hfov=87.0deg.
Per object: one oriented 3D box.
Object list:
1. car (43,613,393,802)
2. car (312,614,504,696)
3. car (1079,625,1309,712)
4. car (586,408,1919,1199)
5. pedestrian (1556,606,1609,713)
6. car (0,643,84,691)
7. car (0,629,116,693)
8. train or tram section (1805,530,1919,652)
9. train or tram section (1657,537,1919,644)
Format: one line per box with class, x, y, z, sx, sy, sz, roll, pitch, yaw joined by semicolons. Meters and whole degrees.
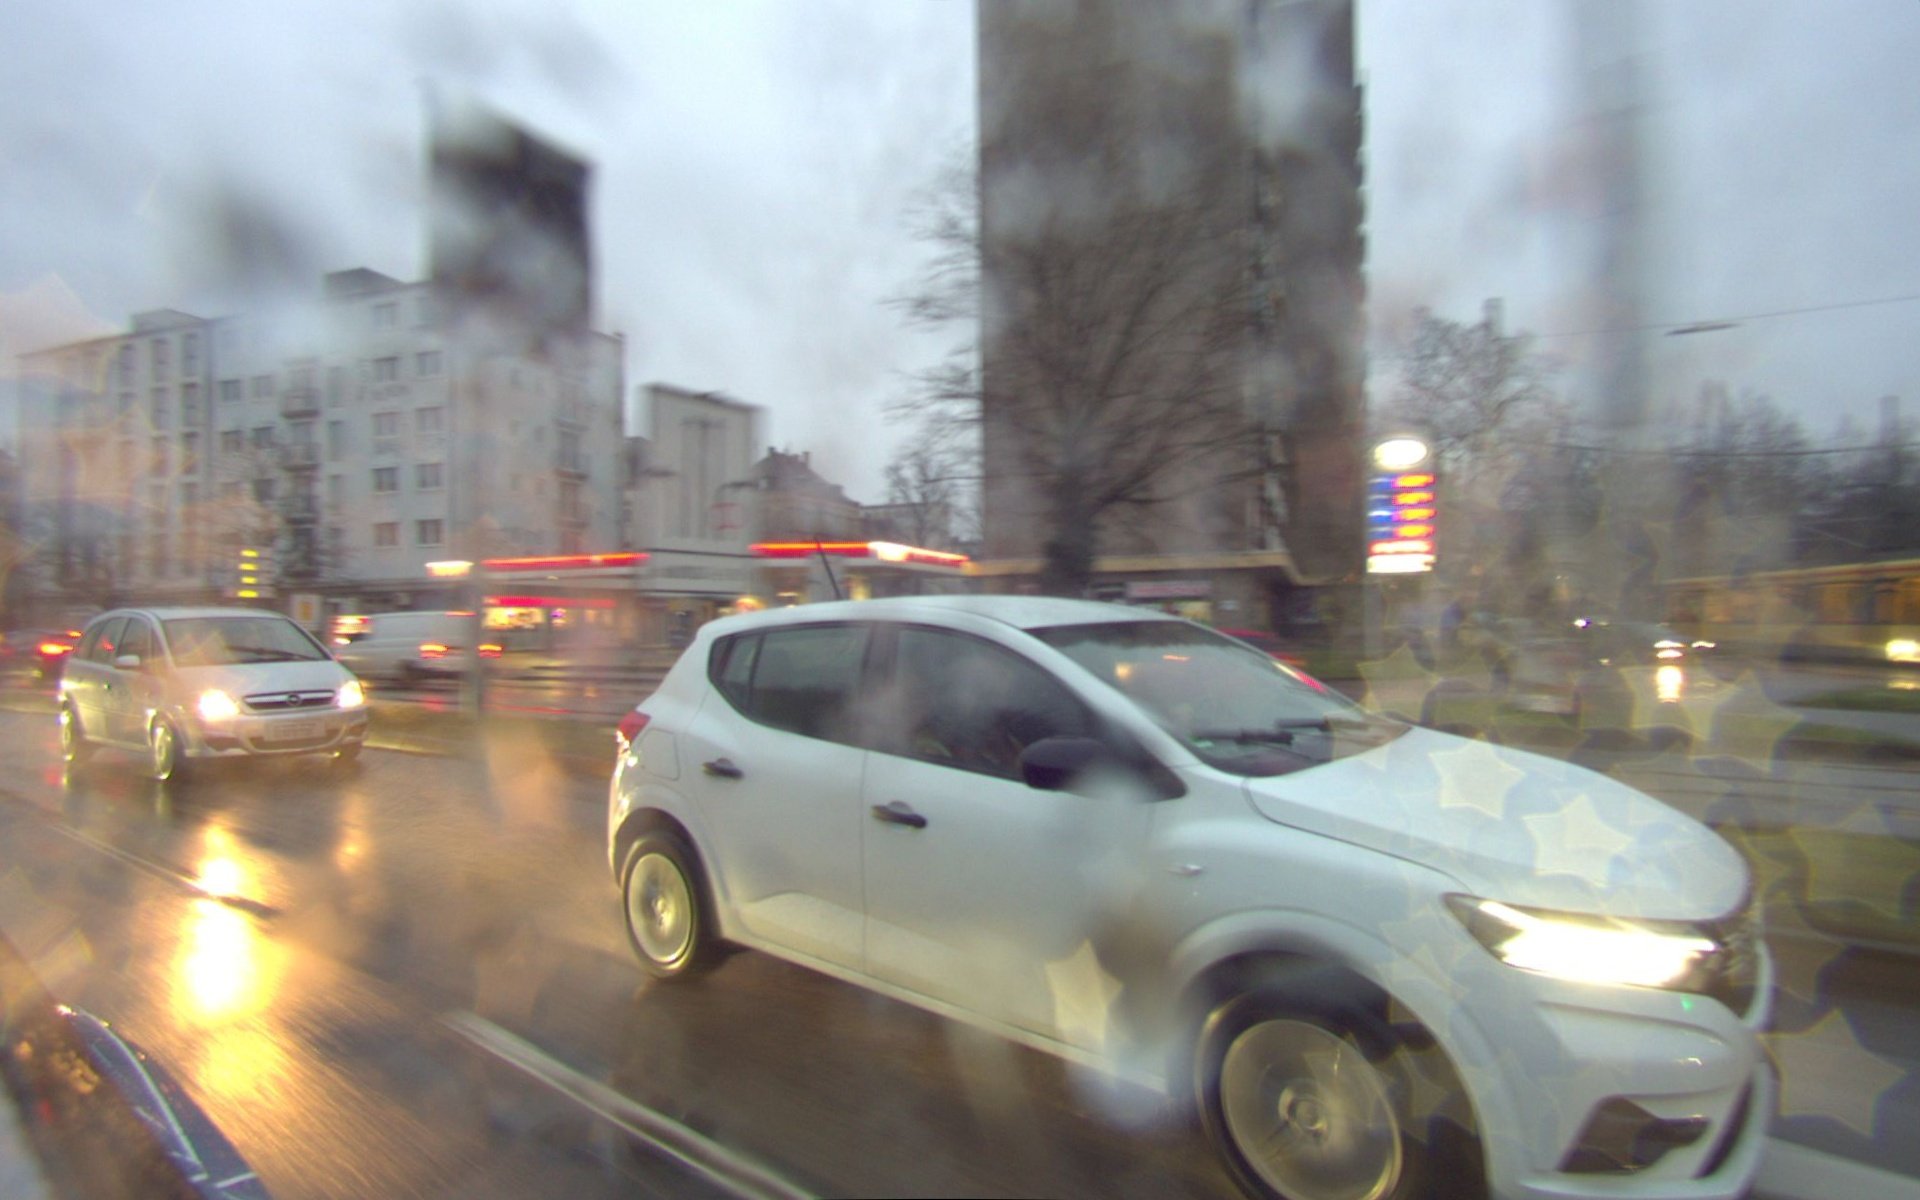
car;-7.610;0.950;10.267;4.099;1.560;1.631;-2;-1;35
car;-14.390;1.436;26.346;4.830;1.961;1.981;-2;-4;27
car;4.253;1.230;18.742;3.792;1.461;1.651;-1;-1;-5
car;0.504;0.528;3.497;3.996;1.498;1.610;-3;-3;40
pedestrian;10.762;1.021;17.513;0.526;1.806;0.626;-2;-1;11
car;-32.606;2.311;35.261;4.258;1.579;1.636;-2;-3;26
car;-25.455;1.682;28.020;4.639;1.643;1.634;-2;-3;29
train or tram section;26.225;-0.270;23.644;3.139;3.212;16.233;-1;0;14
train or tram section;29.573;-0.267;36.887;3.139;3.262;11.099;-1;0;14
